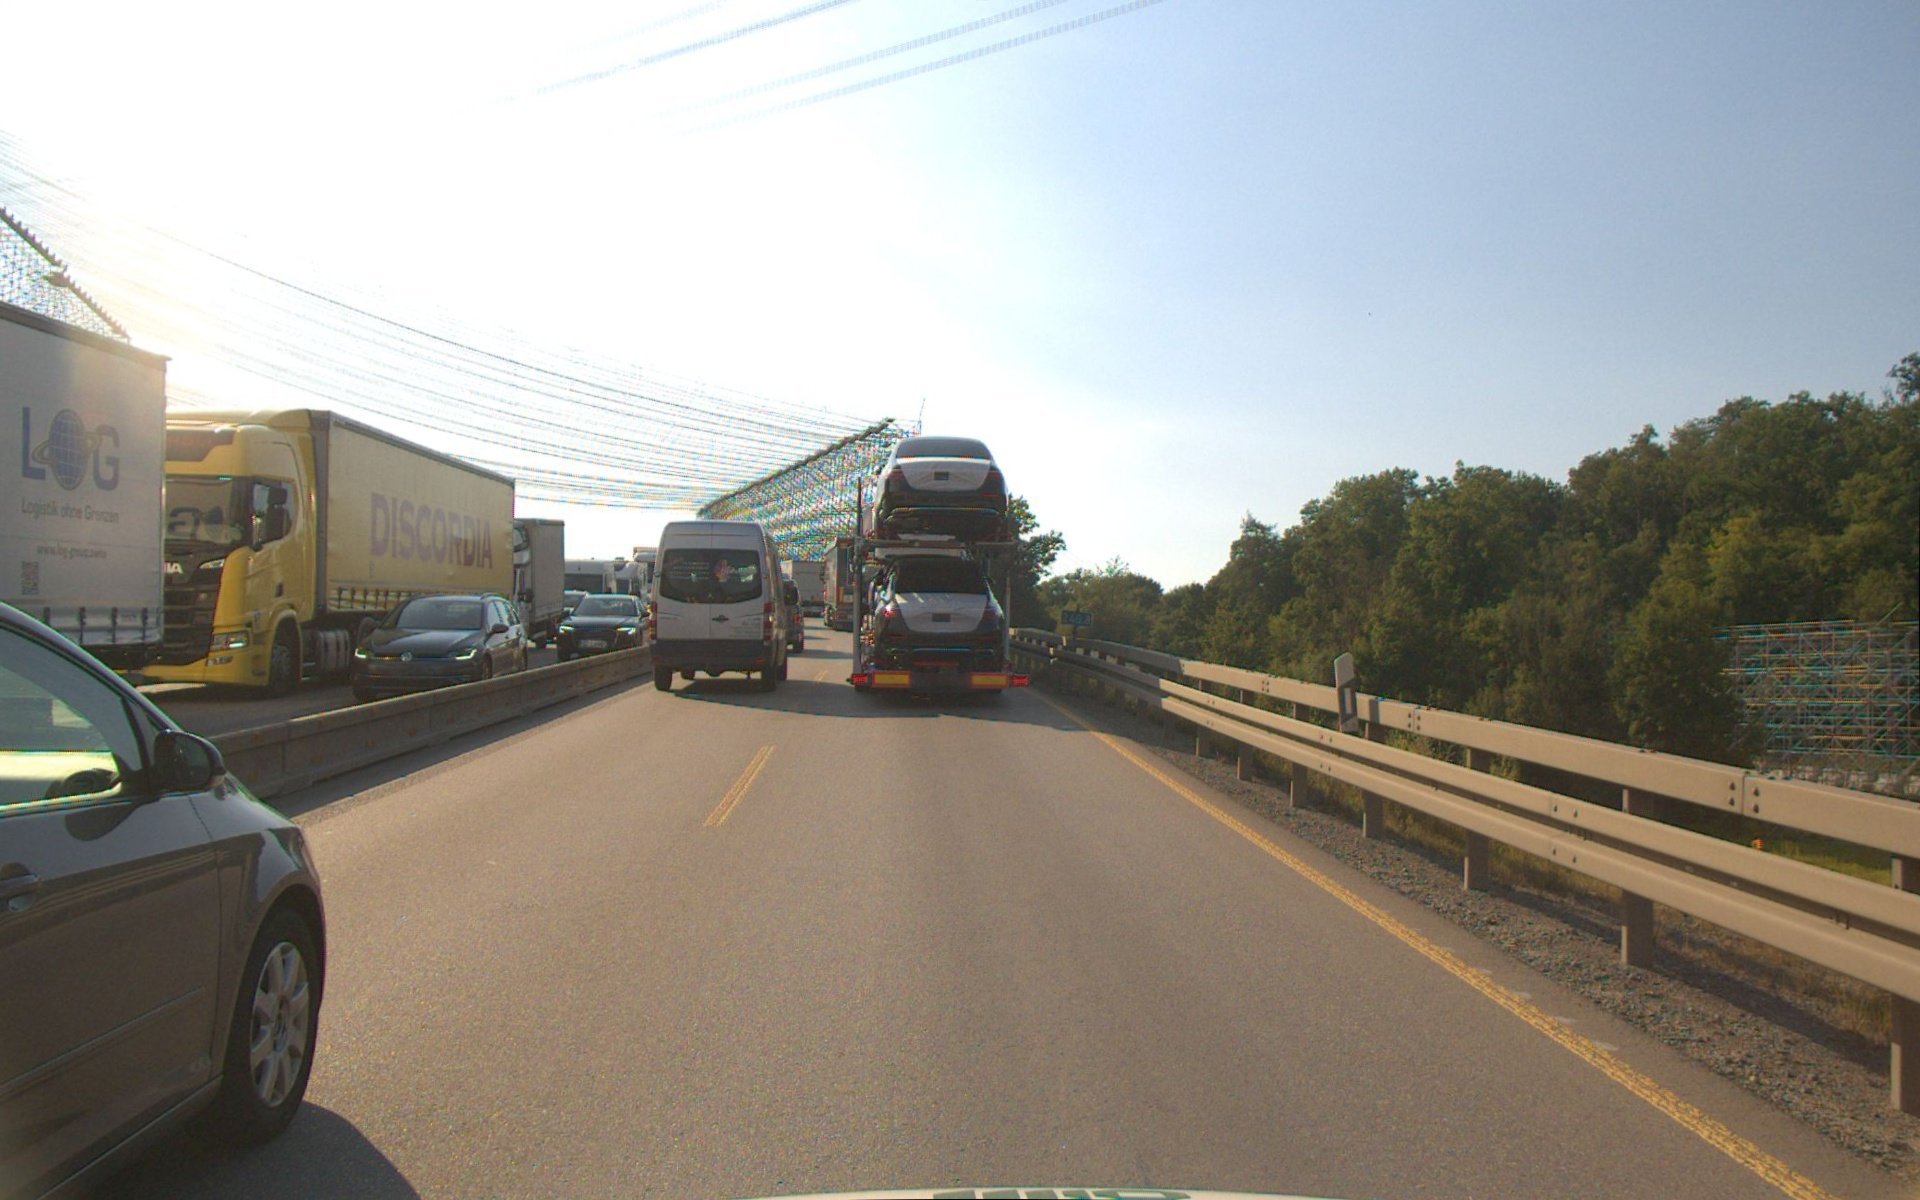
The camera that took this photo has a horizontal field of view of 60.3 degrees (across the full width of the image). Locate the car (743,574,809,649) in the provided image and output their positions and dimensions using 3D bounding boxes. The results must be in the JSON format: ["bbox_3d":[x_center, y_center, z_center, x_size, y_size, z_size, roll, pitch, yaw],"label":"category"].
[{"bbox_3d":[-5.129,0.364,46.445,1.635,2.019,3.815,0,-1,-3],"label":"car"}]

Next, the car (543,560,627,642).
[{"bbox_3d":[-13.415,0.104,59.473,2.086,2.798,5.499,0,-1,-4],"label":"car"}]

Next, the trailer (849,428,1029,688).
[{"bbox_3d":[-0.774,-0.480,33.525,2.817,4.064,15.266,0,-1,-3],"label":"trailer"}]

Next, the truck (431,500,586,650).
[{"bbox_3d":[-11.742,-0.511,43.687,2.311,3.593,7.692,0,-1,-3],"label":"truck"}]

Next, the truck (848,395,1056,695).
[{"bbox_3d":[-0.268,-0.680,25.254,2.813,4.050,5.766,0,-1,-4],"label":"truck"}]

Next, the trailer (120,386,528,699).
[{"bbox_3d":[-10.957,-0.663,30.860,2.836,4.471,14.368,0,-1,-3],"label":"trailer"}]

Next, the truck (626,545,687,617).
[{"bbox_3d":[-17.907,-1.106,98.163,2.589,4.065,9.021,0,0,-4],"label":"truck"}]

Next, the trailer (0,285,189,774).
[{"bbox_3d":[-9.673,-0.681,12.372,2.403,4.341,12.140,0,-1,-2],"label":"trailer"}]

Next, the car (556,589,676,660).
[{"bbox_3d":[-7.980,0.596,38.769,1.953,1.557,4.723,0,-1,-2],"label":"car"}]

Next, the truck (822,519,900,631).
[{"bbox_3d":[-4.738,-1.098,76.945,3.165,4.759,11.681,0,0,-5],"label":"truck"}]

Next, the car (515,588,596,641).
[{"bbox_3d":[-12.312,0.466,50.543,1.773,1.557,4.043,0,-1,-4],"label":"car"}]

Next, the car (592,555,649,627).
[{"bbox_3d":[-13.733,-0.356,67.138,1.635,2.813,4.955,0,0,-4],"label":"car"}]

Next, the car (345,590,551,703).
[{"bbox_3d":[-7.239,0.655,23.872,1.719,1.475,4.531,0,-1,-2],"label":"car"}]

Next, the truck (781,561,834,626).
[{"bbox_3d":[-11.722,-0.491,126.175,3.579,4.759,11.675,0,0,-8],"label":"truck"}]

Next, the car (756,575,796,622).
[{"bbox_3d":[-8.116,-0.034,73.191,1.635,2.019,3.814,0,-1,-4],"label":"car"}]

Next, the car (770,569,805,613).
[{"bbox_3d":[-8.482,-0.423,81.468,1.635,2.019,3.814,0,-1,-4],"label":"car"}]

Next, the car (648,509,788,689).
[{"bbox_3d":[-3.883,0.027,27.191,1.940,2.732,4.143,0,-1,-4],"label":"car"}]

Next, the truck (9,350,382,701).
[{"bbox_3d":[-10.489,-0.856,23.436,2.836,4.347,5.766,0,-1,-4],"label":"truck"}]

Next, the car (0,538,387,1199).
[{"bbox_3d":[-2.538,0.700,3.036,1.667,1.615,4.144,0,-1,-3],"label":"car"}]
